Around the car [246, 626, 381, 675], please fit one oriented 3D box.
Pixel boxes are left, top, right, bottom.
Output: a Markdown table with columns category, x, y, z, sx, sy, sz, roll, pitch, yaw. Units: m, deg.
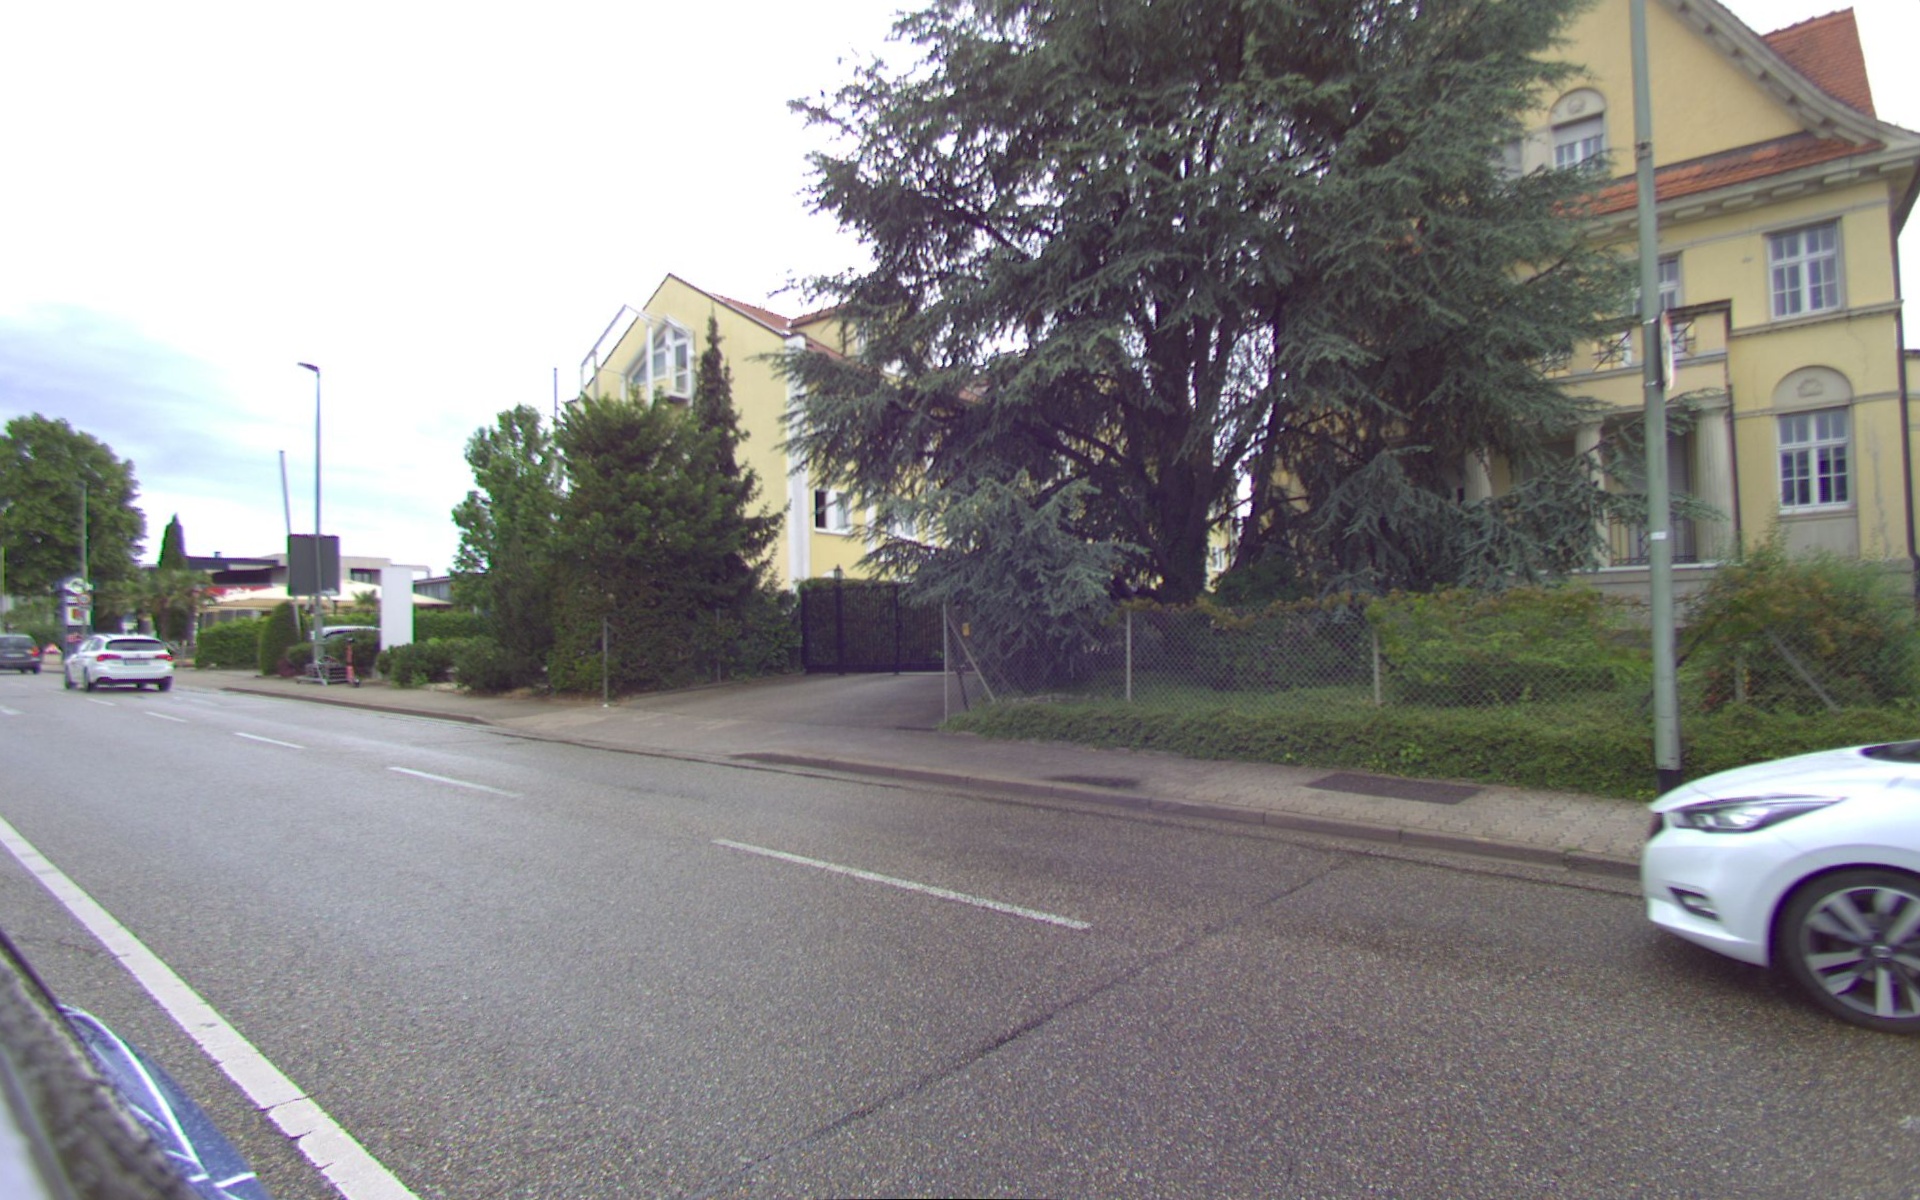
| category | x | y | z | sx | sy | sz | roll | pitch | yaw |
| --- | --- | --- | --- | --- | --- | --- | --- | --- | --- |
| car | -23.498 | 1.785 | 36.840 | 3.876 | 1.664 | 1.720 | 1 | -2 | -44 |

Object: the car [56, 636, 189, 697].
| category | x | y | z | sx | sy | sz | roll | pitch | yaw |
| --- | --- | --- | --- | --- | --- | --- | --- | --- | --- |
| car | -22.466 | 1.728 | 27.105 | 4.304 | 1.465 | 1.948 | -2 | -2 | 39 |

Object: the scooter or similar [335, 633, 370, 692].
| category | x | y | z | sx | sy | sz | roll | pitch | yaw |
| --- | --- | --- | --- | --- | --- | --- | --- | --- | --- |
| scooter or similar | -15.298 | 1.540 | 25.469 | 0.498 | 1.416 | 1.884 | 1 | -2 | -39 |

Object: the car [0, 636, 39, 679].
| category | x | y | z | sx | sy | sz | roll | pitch | yaw |
| --- | --- | --- | --- | --- | --- | --- | --- | --- | --- |
| car | -38.070 | 2.261 | 40.280 | 3.548 | 1.611 | 1.681 | -2 | -2 | 41 |

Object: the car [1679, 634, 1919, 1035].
| category | x | y | z | sx | sy | sz | roll | pitch | yaw |
| --- | --- | --- | --- | --- | --- | --- | --- | --- | --- |
| car | 4.879 | 0.860 | 3.475 | 3.799 | 1.408 | 1.728 | -1 | -4 | 40 |
